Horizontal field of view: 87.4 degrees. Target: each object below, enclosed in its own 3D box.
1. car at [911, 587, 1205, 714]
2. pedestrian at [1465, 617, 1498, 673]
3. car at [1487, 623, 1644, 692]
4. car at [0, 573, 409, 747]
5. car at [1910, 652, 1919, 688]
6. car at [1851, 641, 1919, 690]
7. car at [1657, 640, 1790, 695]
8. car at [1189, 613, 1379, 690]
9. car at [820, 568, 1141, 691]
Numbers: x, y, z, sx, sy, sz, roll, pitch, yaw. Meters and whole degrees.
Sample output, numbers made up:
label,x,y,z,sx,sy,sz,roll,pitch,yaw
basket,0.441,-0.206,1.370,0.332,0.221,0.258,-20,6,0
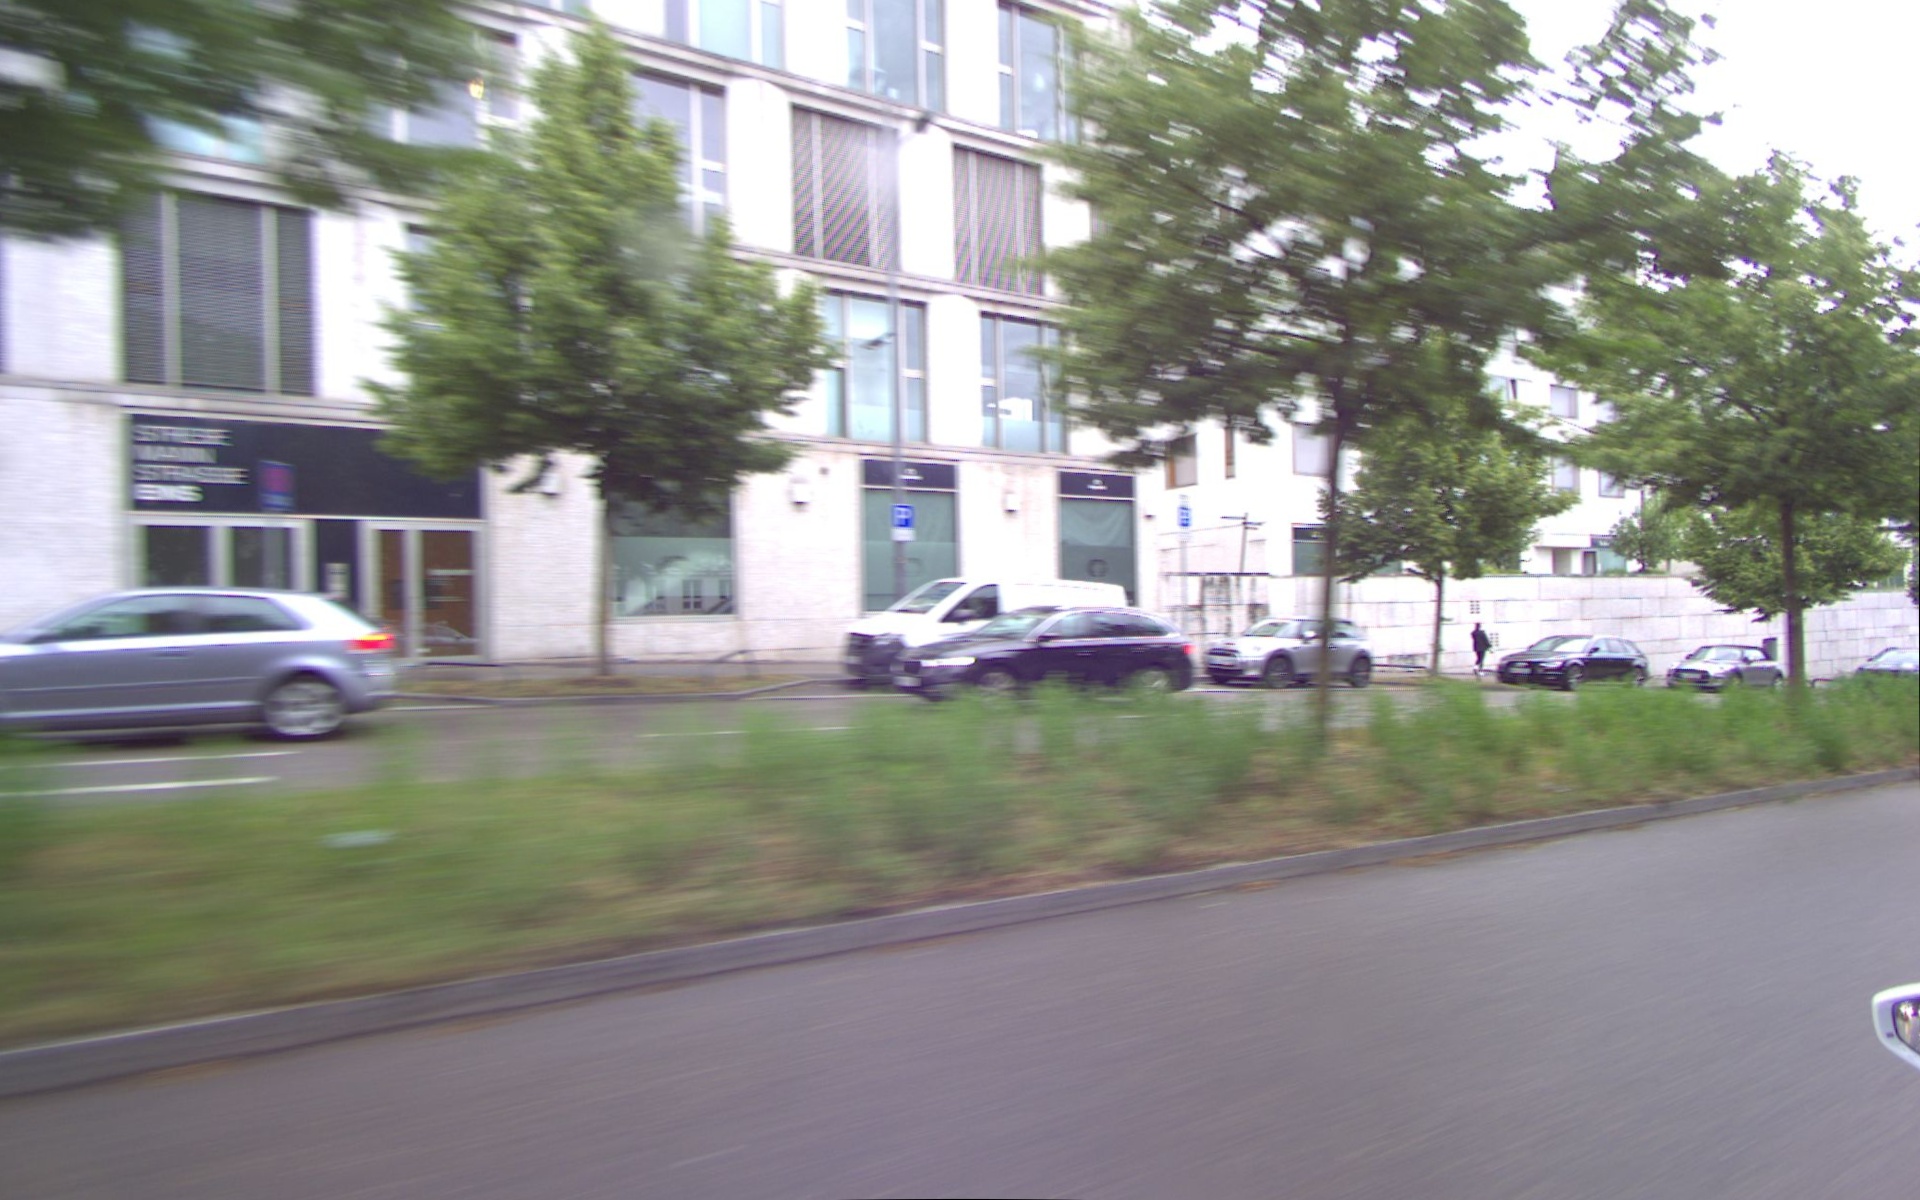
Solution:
label,x,y,z,sx,sy,sz,roll,pitch,yaw
car,1.440,0.651,14.397,3.968,1.602,1.687,0,0,-29
pedestrian,17.232,1.486,33.193,0.683,1.798,0.715,2,-1,-30
car,15.483,1.453,25.649,3.969,1.602,1.687,2,-1,-29
car,-7.426,0.513,9.416,3.949,1.429,1.633,0,-1,-30
car,39.253,2.792,39.436,4.112,1.378,1.688,3,-2,-29
car,34.334,2.407,36.443,4.310,1.641,1.695,3,-2,-30
car,22.766,1.987,29.927,3.811,1.463,1.688,2,0,-28
car,6.636,1.034,20.514,3.656,1.403,1.686,2,0,-31
car,0.427,0.508,17.252,5.200,1.840,2.111,2,-1,-31
